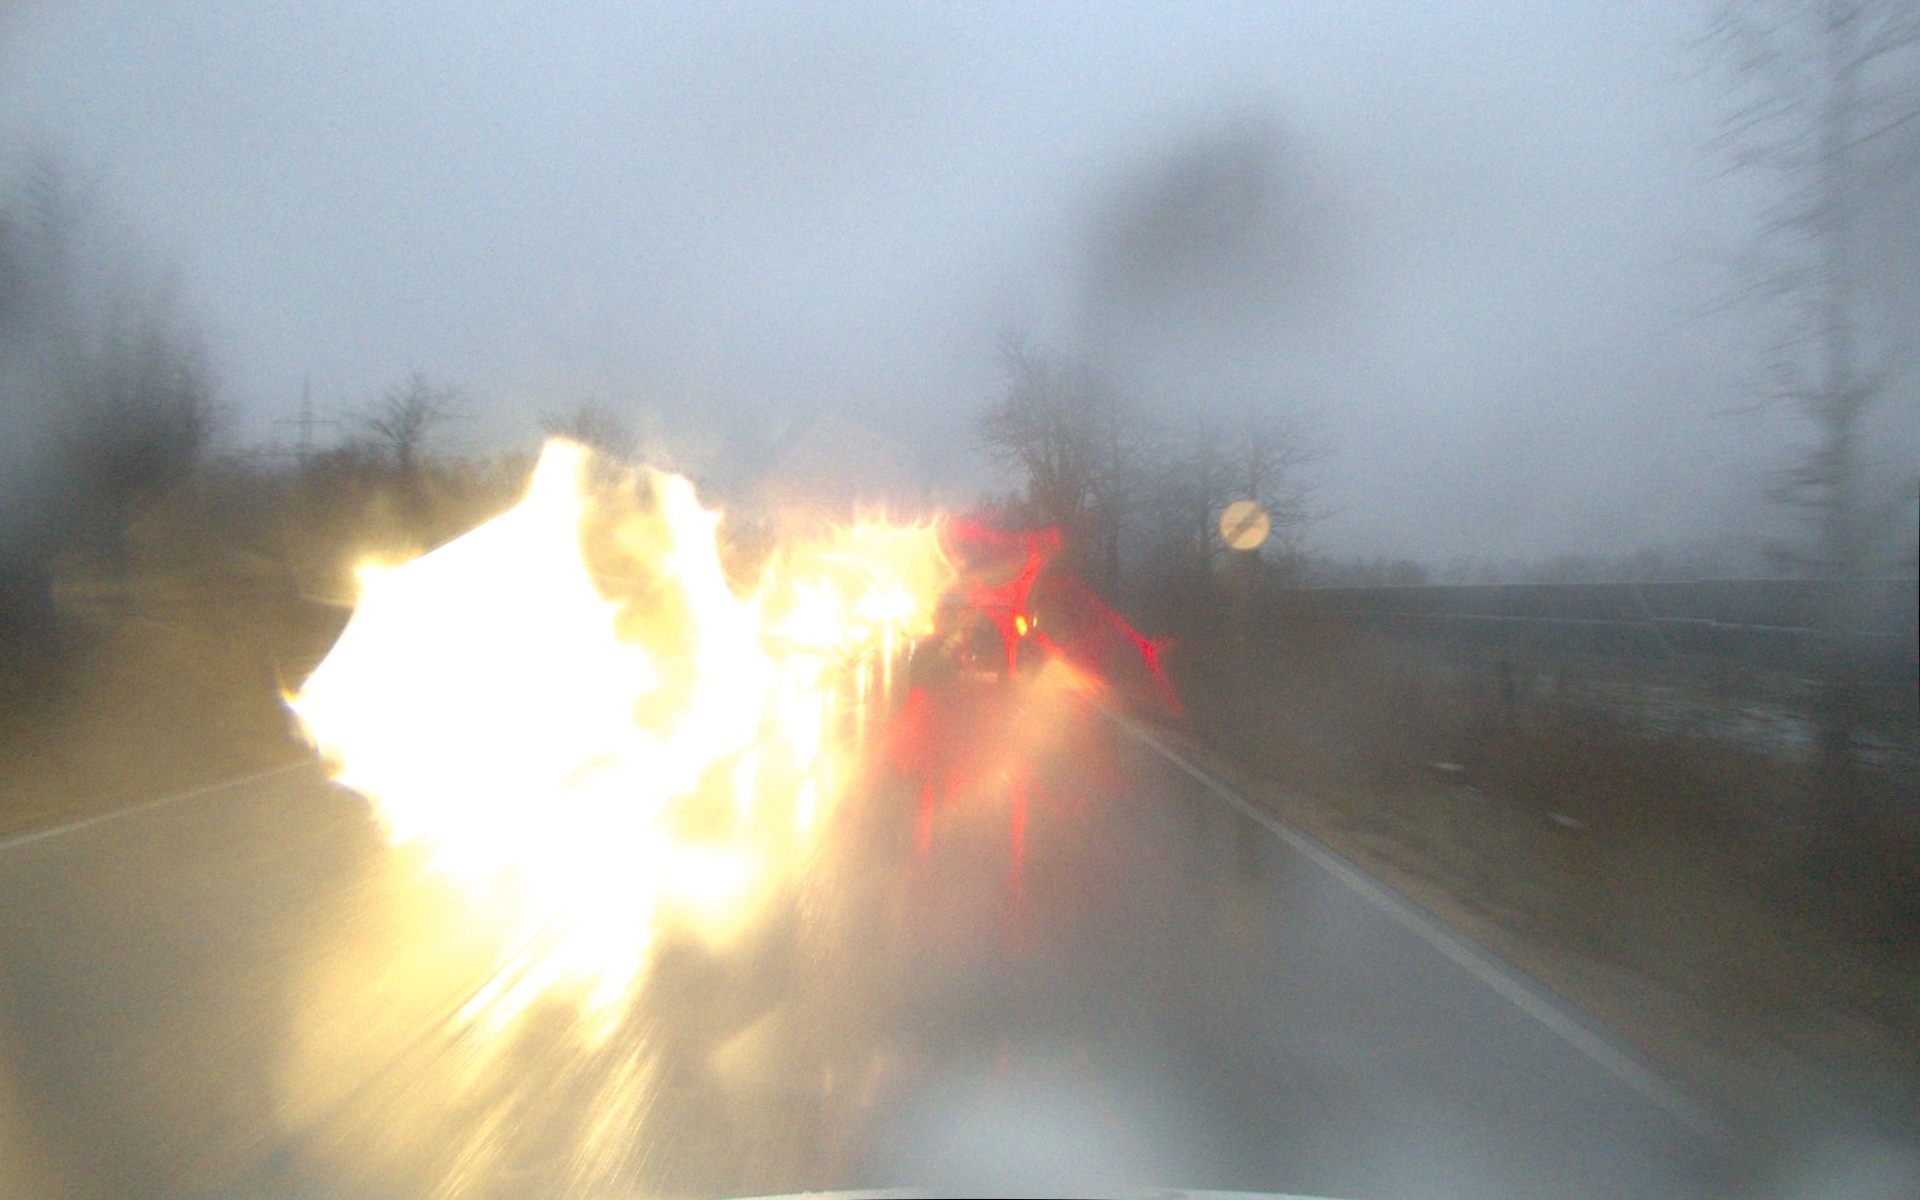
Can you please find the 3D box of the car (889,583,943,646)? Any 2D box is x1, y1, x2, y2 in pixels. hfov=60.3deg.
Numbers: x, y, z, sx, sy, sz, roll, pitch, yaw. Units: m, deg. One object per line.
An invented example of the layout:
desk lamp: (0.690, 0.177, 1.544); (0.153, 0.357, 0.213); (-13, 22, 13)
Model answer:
car: (-1.362, 0.440, 52.232); (1.542, 1.907, 3.709); (1, 0, 0)

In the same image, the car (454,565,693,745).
car: (-3.935, 0.513, 17.469); (1.717, 1.675, 4.047); (0, 0, -2)

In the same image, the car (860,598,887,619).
car: (-6.202, 0.582, 118.524); (1.780, 1.466, 3.455); (1, 0, -1)

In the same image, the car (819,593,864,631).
car: (-5.421, 0.544, 76.245); (1.884, 1.683, 4.103); (1, 0, -2)

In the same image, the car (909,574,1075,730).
car: (0.392, 0.618, 21.710); (1.953, 1.816, 4.000); (1, 0, 0)

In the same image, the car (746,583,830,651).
car: (-4.344, 0.415, 42.396); (1.743, 1.624, 4.692); (0, 0, -1)
